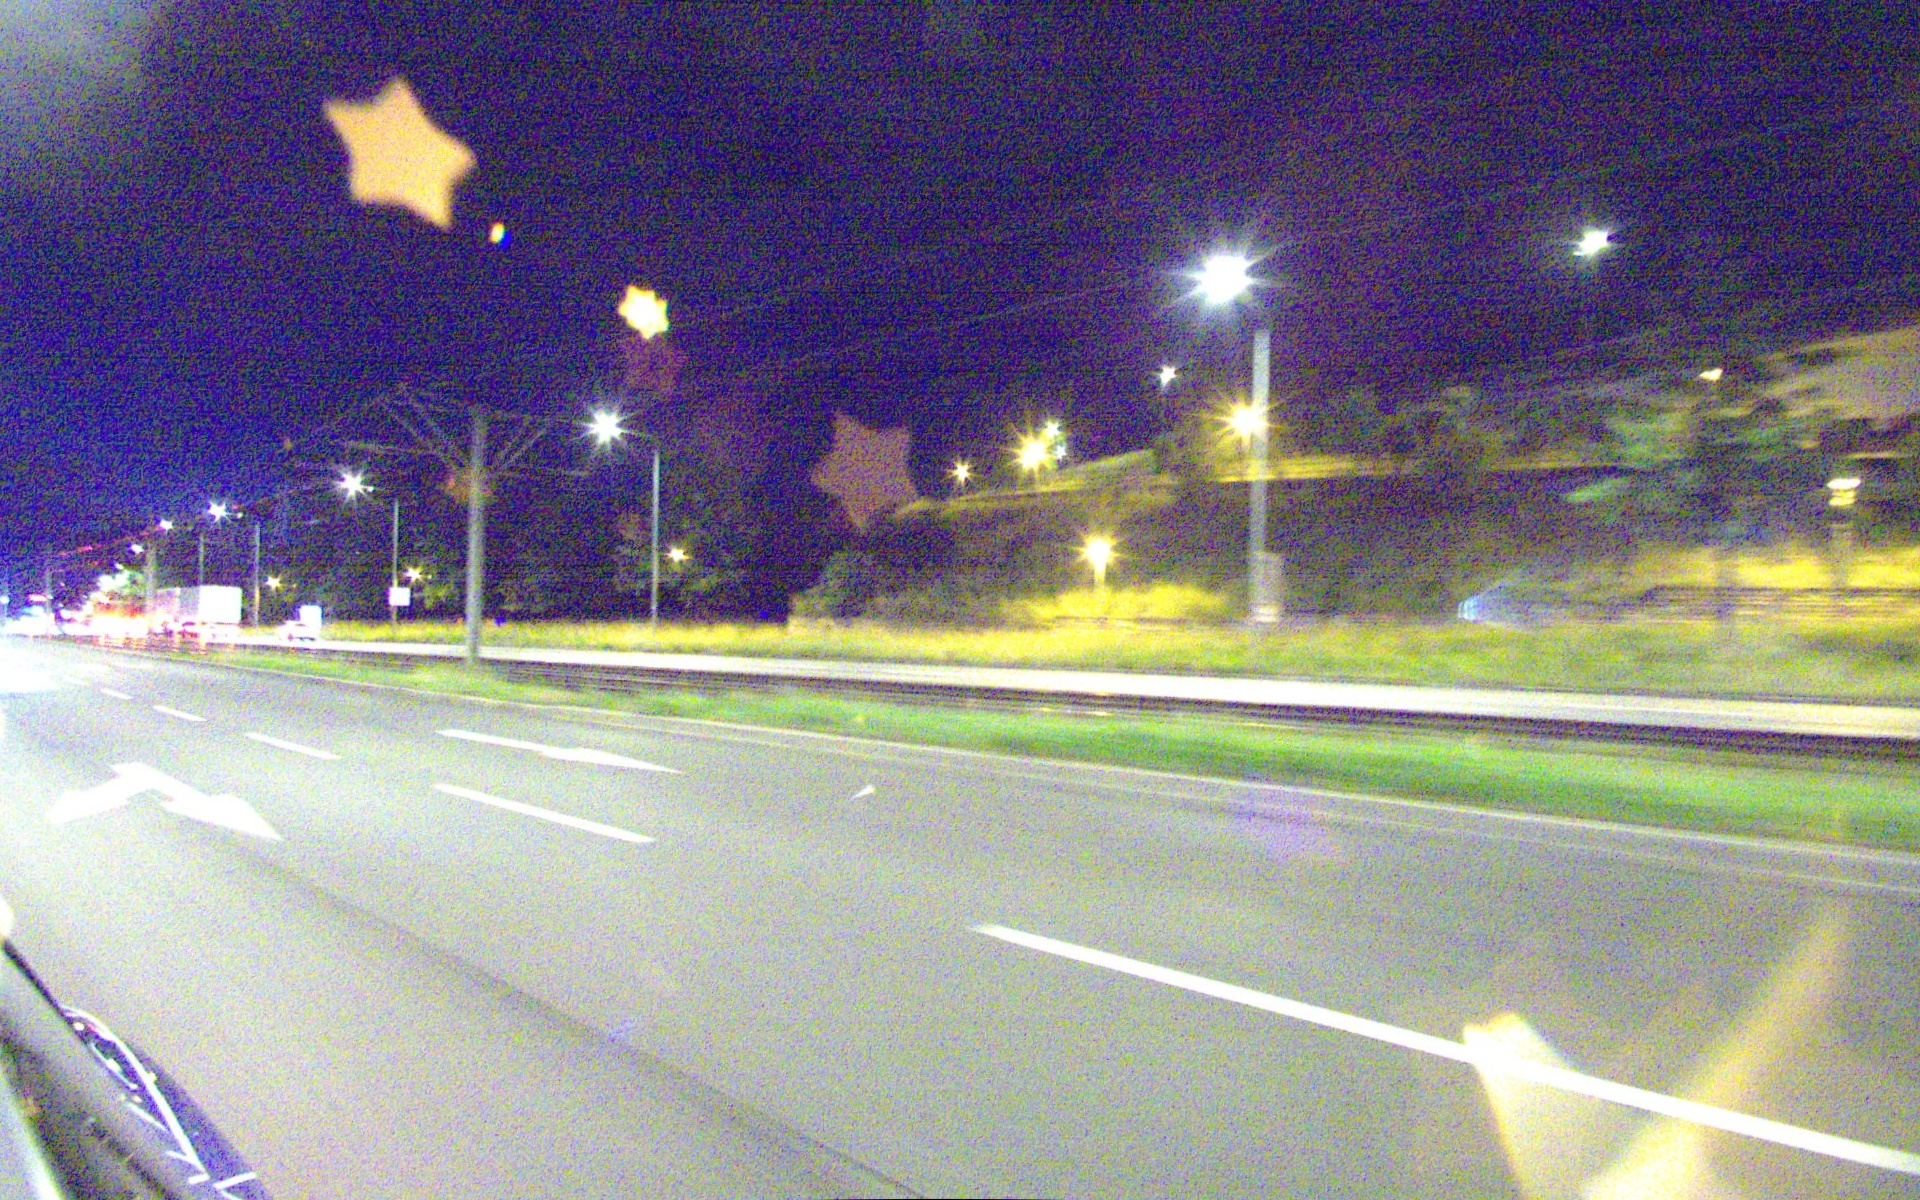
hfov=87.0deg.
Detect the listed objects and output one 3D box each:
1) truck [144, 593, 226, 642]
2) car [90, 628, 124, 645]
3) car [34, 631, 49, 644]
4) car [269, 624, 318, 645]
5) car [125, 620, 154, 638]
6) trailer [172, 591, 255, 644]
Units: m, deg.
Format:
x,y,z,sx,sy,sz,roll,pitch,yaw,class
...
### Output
x,y,z,sx,sy,sz,roll,pitch,yaw,class
-67.021,1.442,87.447,10.416,3.984,3.643,-1,0,41,truck
-80.512,3.403,95.476,4.082,1.510,1.786,-1,-1,40,car
-151.839,6.177,167.304,1.769,1.921,4.004,-1,0,-43,car
-49.671,2.590,75.395,4.202,1.492,1.965,-1,-3,41,car
-82.302,2.894,101.516,3.962,1.637,1.707,-1,0,43,car
-59.937,1.346,81.180,8.391,4.019,3.658,-1,0,41,trailer
